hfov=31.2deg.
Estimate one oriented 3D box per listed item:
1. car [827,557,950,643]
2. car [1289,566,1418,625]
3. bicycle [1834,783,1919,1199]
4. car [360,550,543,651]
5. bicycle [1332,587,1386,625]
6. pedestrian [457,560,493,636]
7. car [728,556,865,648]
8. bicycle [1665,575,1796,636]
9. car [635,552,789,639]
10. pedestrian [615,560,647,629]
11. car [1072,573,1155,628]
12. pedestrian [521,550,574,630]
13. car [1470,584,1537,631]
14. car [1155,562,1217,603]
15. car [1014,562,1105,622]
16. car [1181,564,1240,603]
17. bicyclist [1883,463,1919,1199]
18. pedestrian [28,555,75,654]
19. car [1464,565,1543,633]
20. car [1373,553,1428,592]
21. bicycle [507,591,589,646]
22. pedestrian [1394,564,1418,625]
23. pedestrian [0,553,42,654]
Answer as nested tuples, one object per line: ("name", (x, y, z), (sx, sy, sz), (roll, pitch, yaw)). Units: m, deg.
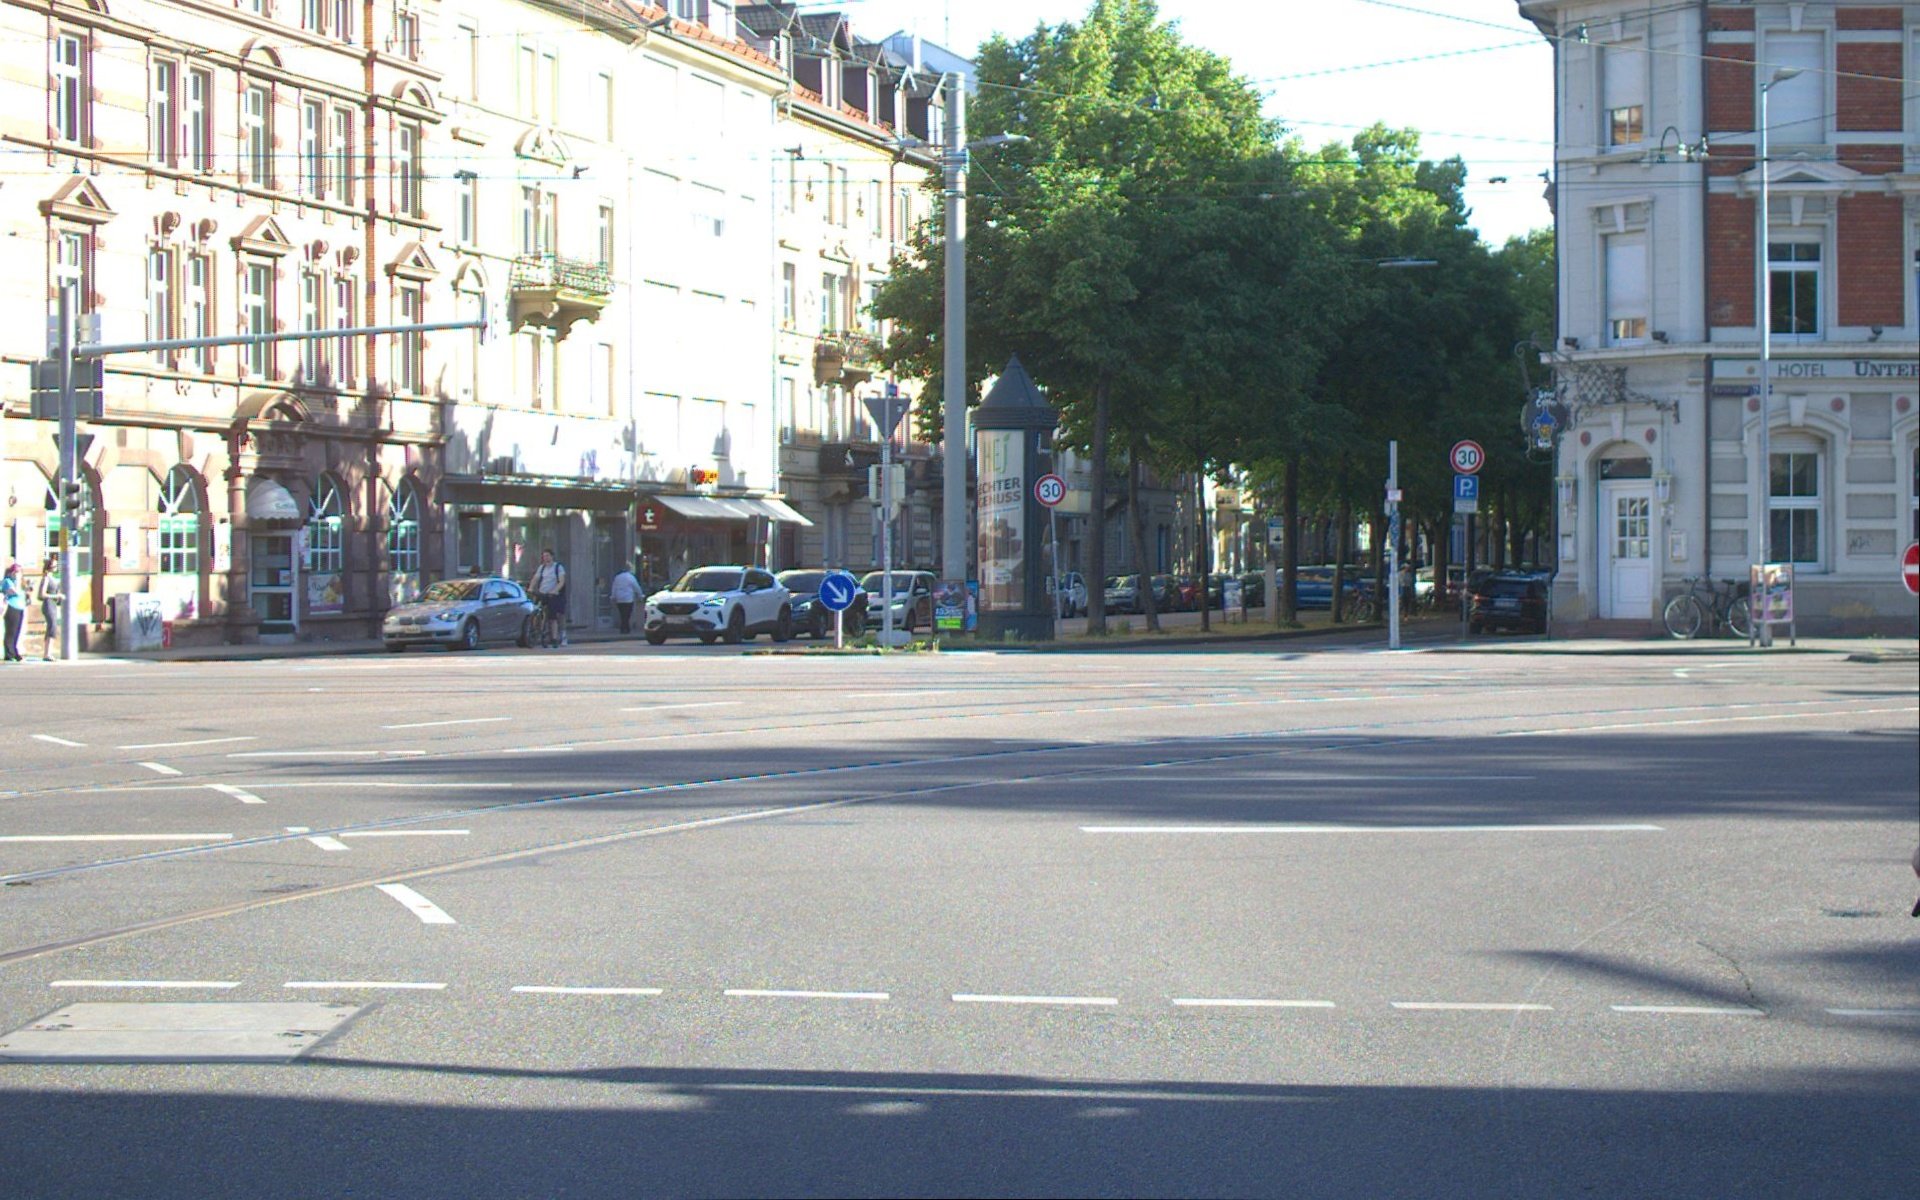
("car", (-1.630, -0.017, 79.775), (1.994, 1.897, 3.998), (1, 1, 11))
("car", (13.162, -0.166, 114.978), (3.990, 1.897, 1.998), (1, 0, 16))
("bicycle", (1.956, 0.902, 5.717), (0.626, 1.081, 1.703), (1, 1, 2))
("car", (-9.894, -0.004, 67.160), (1.995, 1.897, 3.997), (1, 1, 17))
("bicycle", (11.505, 0.167, 99.075), (0.626, 1.081, 1.703), (1, 1, -31))
("pedestrian", (-10.545, -0.044, 74.770), (0.544, 1.626, 0.706), (1, 0, 13))
("car", (-3.465, 0.019, 73.711), (1.994, 1.897, 3.998), (1, 1, 11))
("bicycle", (12.787, 0.088, 57.081), (2.049, 0.994, 0.630), (0, 0, 3))
("car", (-4.820, -0.101, 67.327), (1.994, 1.612, 3.998), (1, 1, 11))
("pedestrian", (-7.897, -0.134, 82.522), (0.544, 1.626, 0.706), (1, 0, 13))
("car", (5.482, -0.008, 122.550), (1.995, 1.897, 3.997), (1, 1, 17))
("pedestrian", (-7.830, -0.188, 65.213), (0.821, 1.507, 0.598), (1, 0, 15))
("car", (16.243, 0.208, 102.707), (1.755, 1.357, 3.854), (1, 1, 12))
("car", (8.677, -0.676, 131.763), (1.560, 1.508, 3.653), (1, 1, 17))
("car", (3.281, -0.279, 112.708), (1.995, 1.897, 3.997), (1, 1, 17))
("car", (9.951, -0.653, 136.194), (1.560, 1.508, 3.653), (1, 1, 17))
("bicyclist", (1.962, 0.521, 5.716), (0.639, 1.489, 0.883), (1, 2, 4))
("pedestrian", (-15.108, 0.079, 57.178), (0.633, 1.628, 0.701), (1, 0, -4))
("car", (13.067, -0.034, 82.597), (1.692, 1.559, 3.839), (1, 1, 11))
("car", (17.262, -1.072, 134.651), (1.560, 1.508, 3.653), (1, 1, 17))
("bicycle", (-7.816, 0.339, 65.292), (0.763, 1.004, 2.395), (1, 1, 13))
("pedestrian", (13.212, -0.175, 101.879), (0.640, 1.790, 0.490), (1, 0, 12))
("pedestrian", (-15.333, 0.054, 55.910), (0.633, 1.628, 0.701), (1, 0, -4))
